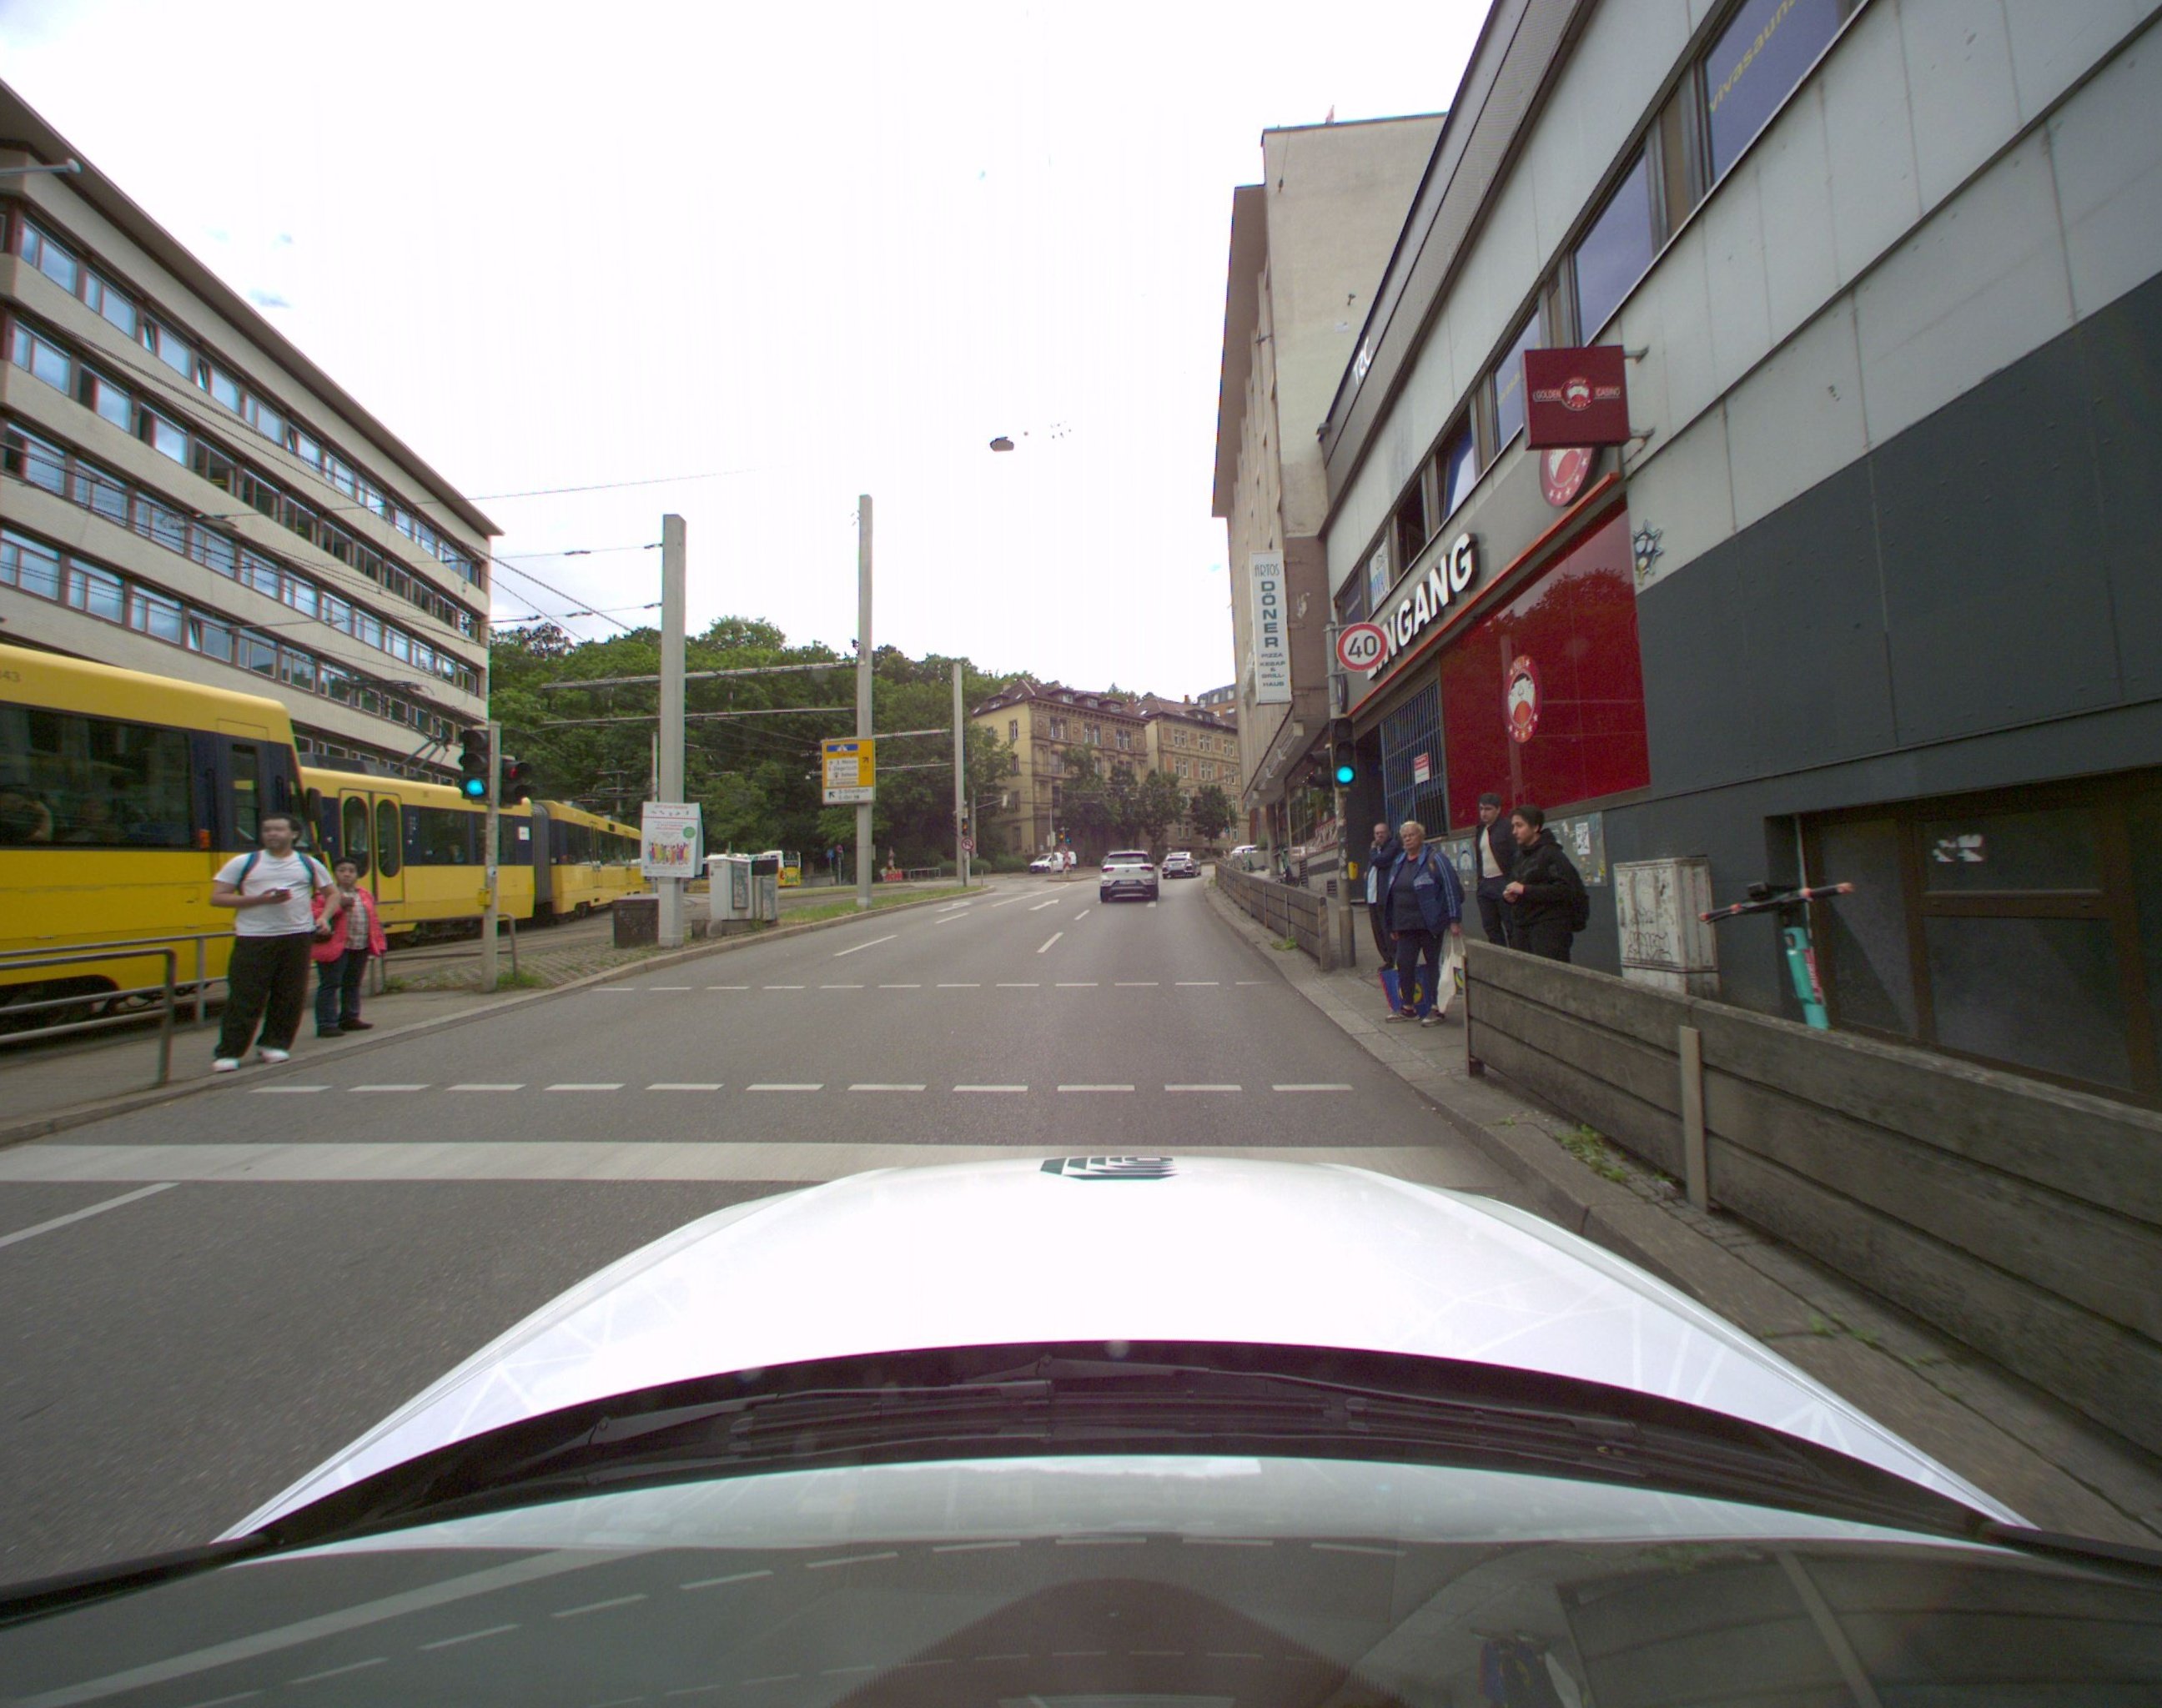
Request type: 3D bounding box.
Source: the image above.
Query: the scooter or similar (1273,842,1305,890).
[{"bbox_3d":[5.643,0.321,22.162,0.627,1.249,1.336,-2,0,7],"label":"scooter or similar"}]

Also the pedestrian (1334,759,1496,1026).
[{"bbox_3d":[2.769,0.308,6.850,0.942,2.062,0.779,-4,-1,4],"label":"pedestrian"}]

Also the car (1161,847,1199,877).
[{"bbox_3d":[5.463,0.441,45.283,1.894,1.574,3.839,-1,-1,5],"label":"car"}]

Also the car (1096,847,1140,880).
[{"bbox_3d":[2.157,0.510,46.760,1.827,1.739,4.013,-2,0,12],"label":"car"}]

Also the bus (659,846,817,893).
[{"bbox_3d":[-26.669,1.203,63.411,11.429,3.029,3.403,-3,0,13],"label":"bus"}]

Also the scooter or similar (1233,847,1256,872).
[{"bbox_3d":[8.030,0.265,39.988,1.012,1.182,0.373,-2,-1,-24],"label":"scooter or similar"}]

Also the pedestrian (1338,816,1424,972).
[{"bbox_3d":[3.389,0.438,9.239,0.559,1.651,0.591,-8,-1,3],"label":"pedestrian"}]

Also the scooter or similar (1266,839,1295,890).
[{"bbox_3d":[5.954,0.305,24.347,0.664,1.475,1.181,-2,0,7],"label":"scooter or similar"}]

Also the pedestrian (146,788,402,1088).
[{"bbox_3d":[-6.144,0.626,6.265,0.958,2.067,1.037,-4,-4,19],"label":"pedestrian"}]

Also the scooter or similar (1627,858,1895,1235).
[{"bbox_3d":[2.594,0.659,3.188,0.352,1.276,0.814,-2,0,2],"label":"scooter or similar"}]

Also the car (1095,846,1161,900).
[{"bbox_3d":[1.570,0.592,26.301,1.929,1.566,4.051,-2,-1,5],"label":"car"}]

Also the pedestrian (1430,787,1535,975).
[{"bbox_3d":[4.003,0.262,8.167,0.723,1.808,0.655,-1,-1,4],"label":"pedestrian"}]

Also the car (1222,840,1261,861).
[{"bbox_3d":[11.920,-0.246,60.285,1.920,1.506,3.828,-2,-1,26],"label":"car"}]

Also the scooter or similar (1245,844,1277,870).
[{"bbox_3d":[9.152,0.159,41.407,1.447,1.254,0.552,-4,0,-24],"label":"scooter or similar"}]

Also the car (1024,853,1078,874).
[{"bbox_3d":[-2.681,0.833,74.426,1.975,1.849,5.023,-1,0,42],"label":"car"}]

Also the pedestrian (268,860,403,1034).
[{"bbox_3d":[-6.680,0.820,7.321,0.571,1.464,0.679,-4,-4,19],"label":"pedestrian"}]

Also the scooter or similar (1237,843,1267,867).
[{"bbox_3d":[9.043,0.037,43.156,1.447,1.182,0.578,-2,-1,-24],"label":"scooter or similar"}]

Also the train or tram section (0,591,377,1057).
[{"bbox_3d":[-9.853,-0.242,2.545,2.873,3.664,14.468,-2,-1,-1],"label":"train or tram section"}]

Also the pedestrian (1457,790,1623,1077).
[{"bbox_3d":[3.023,0.501,5.429,0.734,1.793,0.655,-1,-1,4],"label":"pedestrian"}]

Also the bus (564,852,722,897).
[{"bbox_3d":[-34.895,1.614,65.021,11.257,3.043,3.333,-3,0,9],"label":"bus"}]
